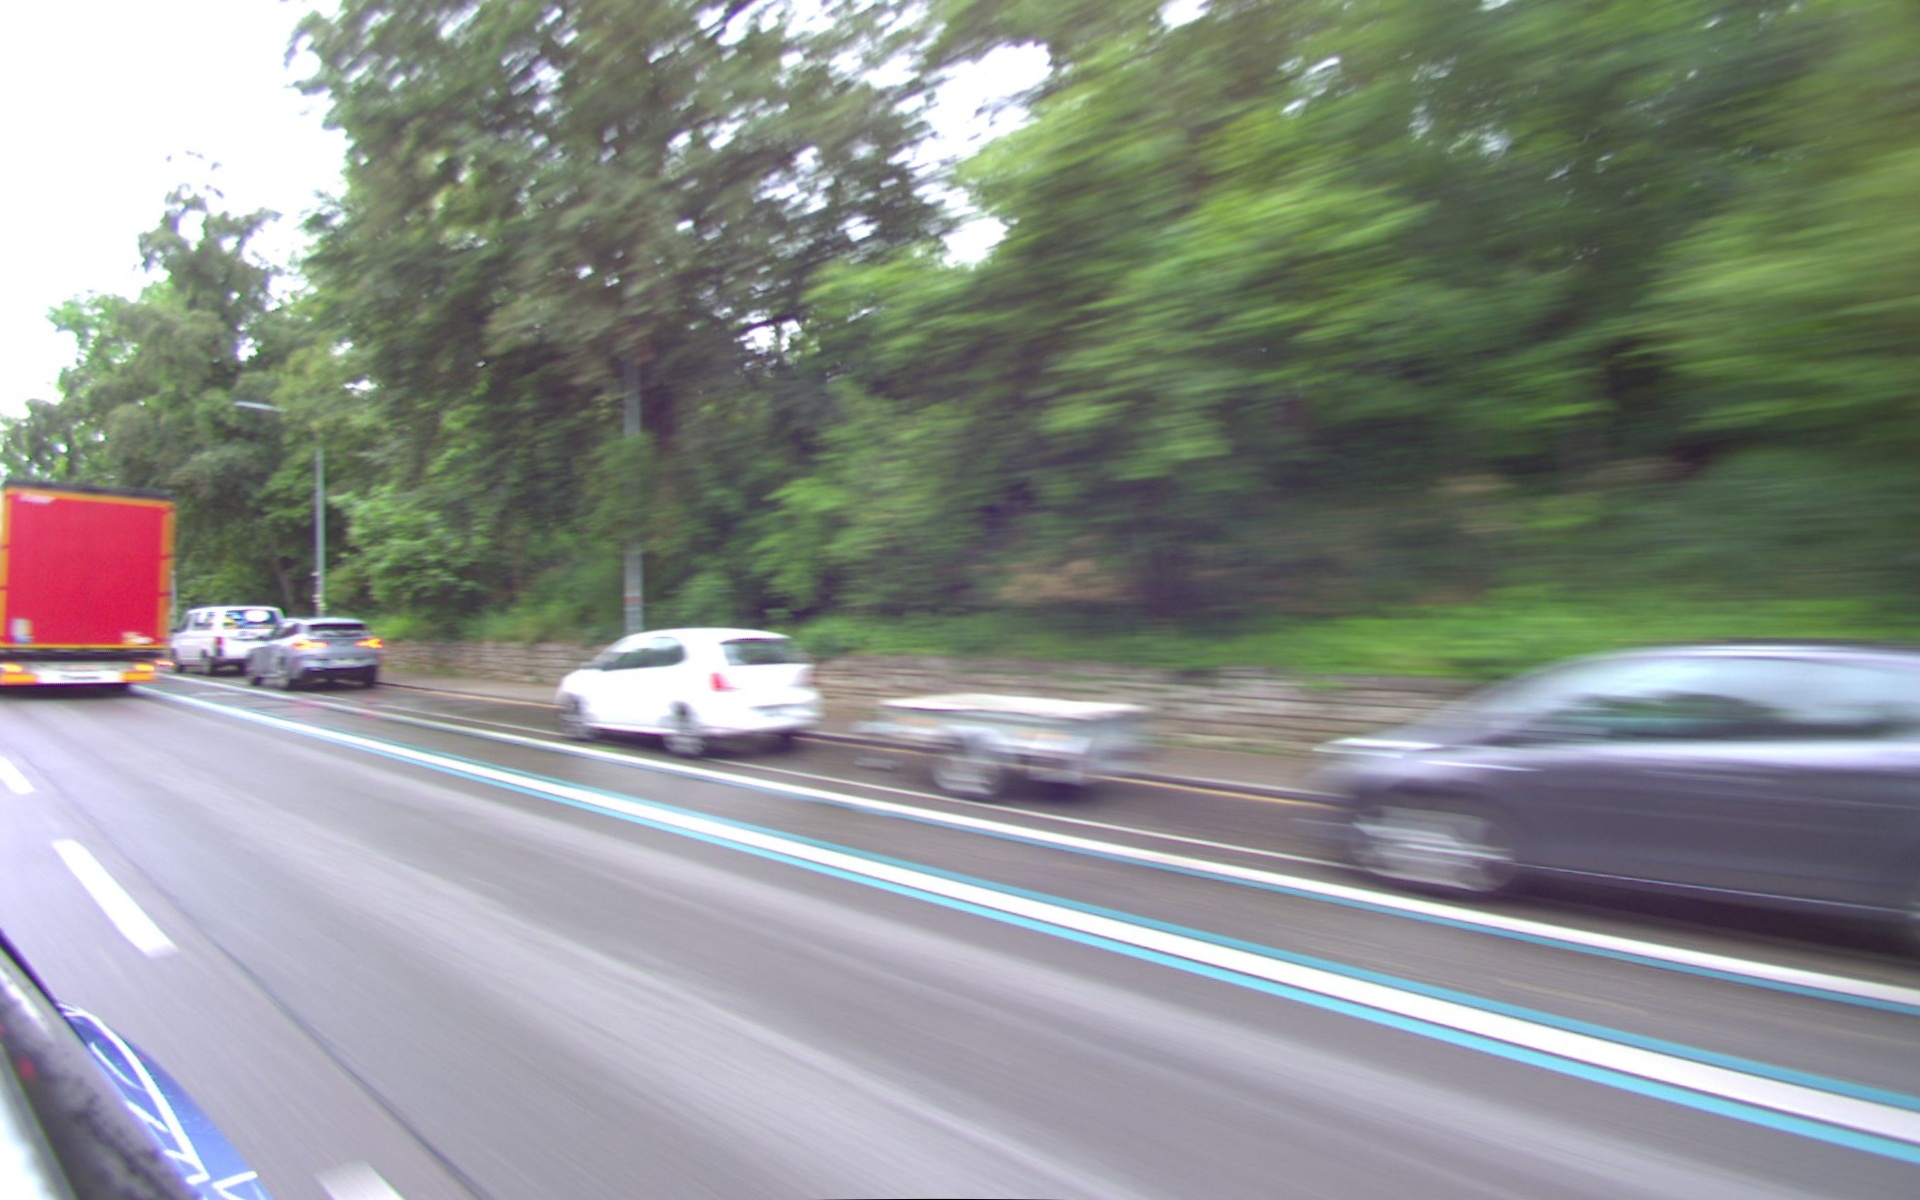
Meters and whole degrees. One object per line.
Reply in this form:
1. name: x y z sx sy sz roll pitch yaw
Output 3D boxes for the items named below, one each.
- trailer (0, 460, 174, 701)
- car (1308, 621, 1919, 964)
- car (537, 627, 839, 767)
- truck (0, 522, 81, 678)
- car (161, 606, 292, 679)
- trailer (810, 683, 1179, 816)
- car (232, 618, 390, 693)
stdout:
1. trailer: -21.075 -0.197 23.146 12.767 4.292 2.658 -1 -4 43
2. car: 4.248 0.872 5.553 4.037 1.488 1.813 -2 -2 40
3. car: -3.532 1.106 12.807 3.980 1.493 1.770 -2 -2 41
4. truck: -26.809 0.053 28.483 4.917 4.077 2.490 -1 -4 44
5. car: -22.265 1.249 30.645 5.012 2.020 1.955 -2 -1 38
6. trailer: 0.230 1.312 9.622 3.303 0.825 1.526 -1 -1 41
7. car: -15.656 1.272 24.301 4.778 1.618 1.989 -2 -2 42
